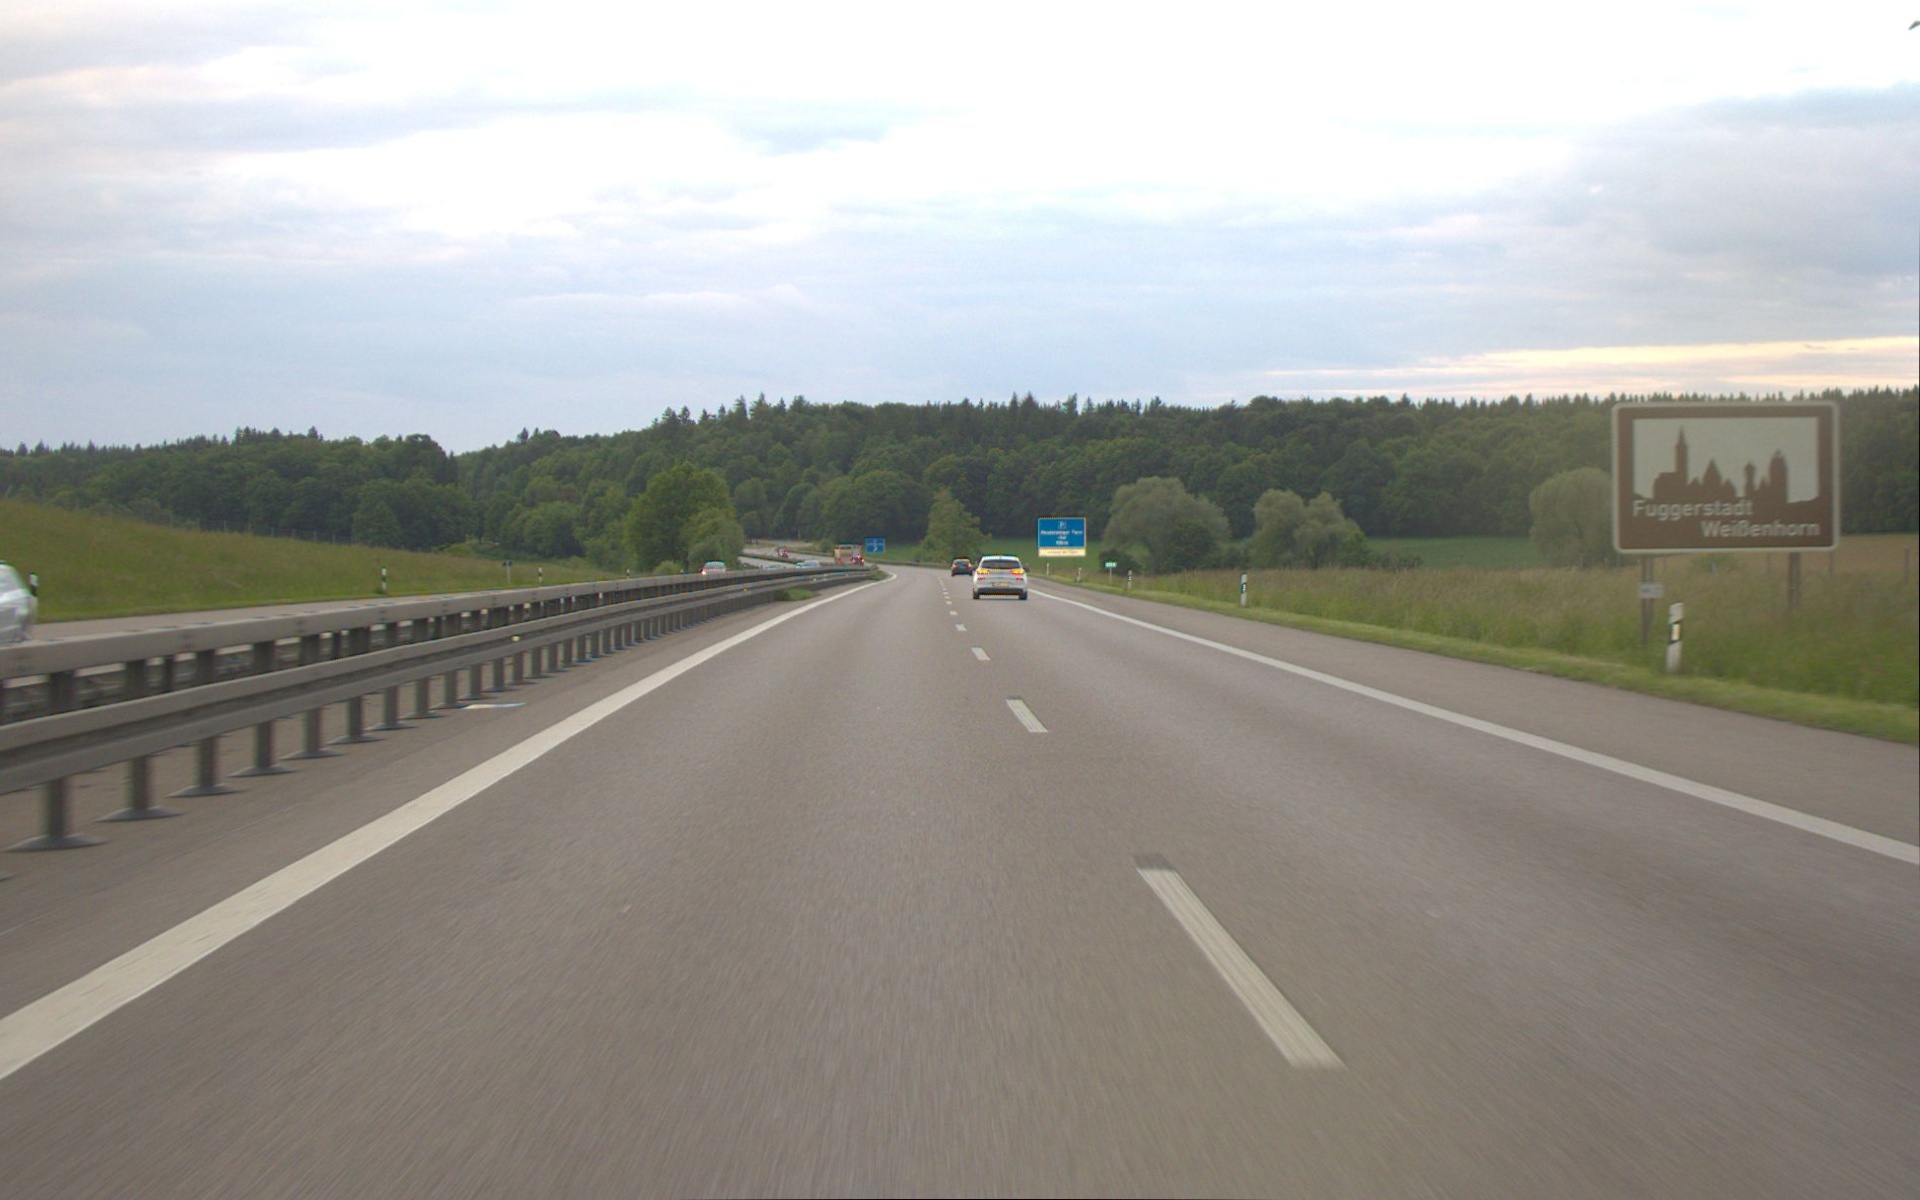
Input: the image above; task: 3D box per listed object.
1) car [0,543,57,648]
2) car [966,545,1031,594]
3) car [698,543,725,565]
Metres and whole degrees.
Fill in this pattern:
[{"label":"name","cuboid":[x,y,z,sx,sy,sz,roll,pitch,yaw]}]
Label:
[{"label":"car","cuboid":[-14.698,-0.074,49.968,1.765,1.477,5.334,1,1,0]},{"label":"car","cuboid":[1.269,-1.038,114.942,1.951,1.526,4.081,1,1,-2]},{"label":"car","cuboid":[-16.829,-3.140,232.688,1.528,1.428,4.435,1,1,-1]}]
